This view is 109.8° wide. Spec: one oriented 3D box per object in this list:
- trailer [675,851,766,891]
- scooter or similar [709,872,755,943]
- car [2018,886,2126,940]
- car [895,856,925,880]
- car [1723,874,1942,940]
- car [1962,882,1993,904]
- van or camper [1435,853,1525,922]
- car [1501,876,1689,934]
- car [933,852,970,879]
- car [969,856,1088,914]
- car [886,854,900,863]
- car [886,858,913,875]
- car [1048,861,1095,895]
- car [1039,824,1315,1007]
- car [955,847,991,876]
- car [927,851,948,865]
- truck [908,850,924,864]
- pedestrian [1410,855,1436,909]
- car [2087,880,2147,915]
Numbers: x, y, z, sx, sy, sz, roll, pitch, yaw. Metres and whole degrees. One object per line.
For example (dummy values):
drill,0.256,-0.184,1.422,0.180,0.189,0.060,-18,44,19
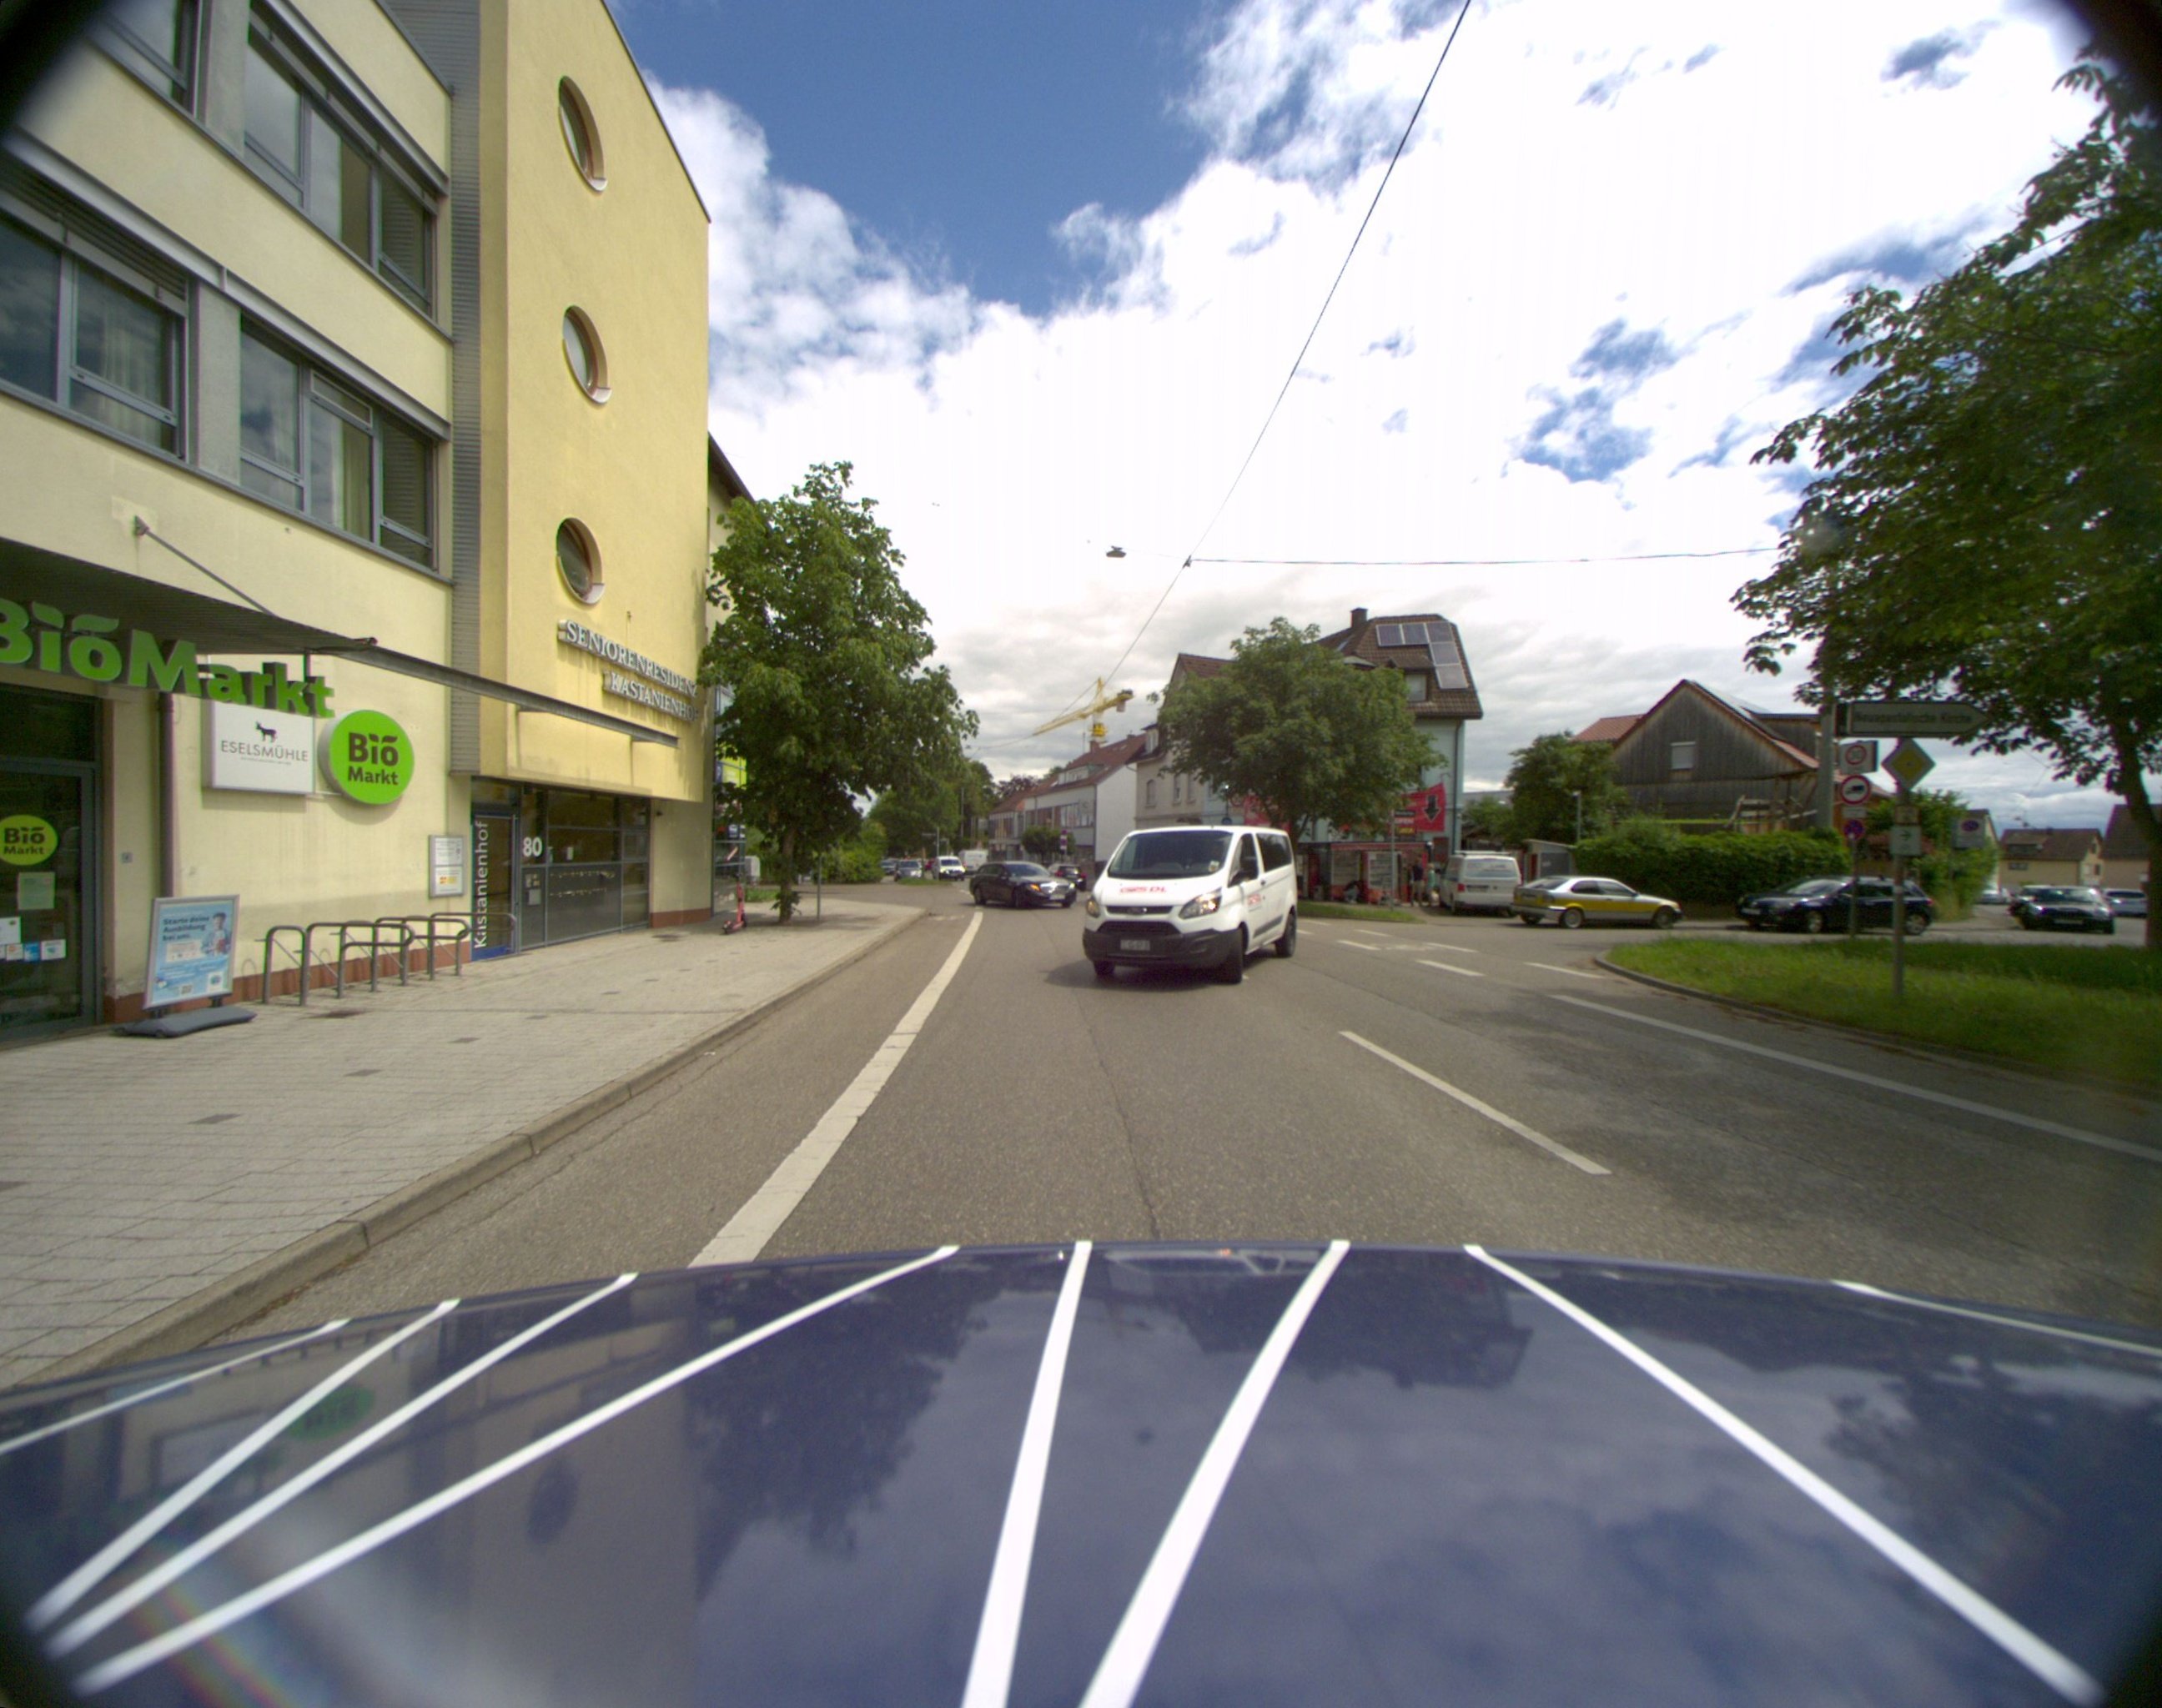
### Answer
trailer,-15.328,0.719,32.412,3.168,1.572,1.392,2,0,-6
scooter or similar,-7.125,1.064,15.580,0.382,1.309,1.458,0,1,-5
car,30.886,1.773,23.671,3.784,1.314,1.589,-1,3,-31
car,-12.317,0.988,54.627,1.697,1.656,4.456,1,-1,-17
car,19.780,1.360,20.135,3.999,1.540,1.815,1,2,-2
car,75.511,3.283,64.008,3.635,1.549,1.589,-1,3,-40
van or camper,13.096,1.009,25.190,1.787,1.982,4.384,1,1,17
car,13.940,1.351,20.724,4.029,1.405,1.814,0,2,-7
car,-9.471,0.798,55.320,1.969,1.797,4.421,-1,2,-19
car,-1.806,0.923,24.451,1.813,1.619,4.675,-3,1,-32
car,-32.282,0.769,130.323,1.873,1.608,4.527,2,-1,-19
car,-17.229,1.183,71.966,1.993,1.440,4.743,1,1,-19
car,-0.562,1.200,39.301,1.693,1.473,4.222,4,0,-10
car,1.710,0.749,11.017,2.103,1.981,5.240,-2,-2,29
car,-9.574,0.652,67.106,2.072,2.339,5.174,4,-1,-19
car,-17.037,0.488,90.010,1.783,1.514,4.453,1,1,-20
truck,-29.903,0.523,137.723,2.315,2.406,6.082,0,1,-18
pedestrian,12.266,0.987,27.247,0.626,1.885,0.563,-1,2,-30
car,55.348,2.310,40.656,3.635,1.549,1.589,-1,3,-40
